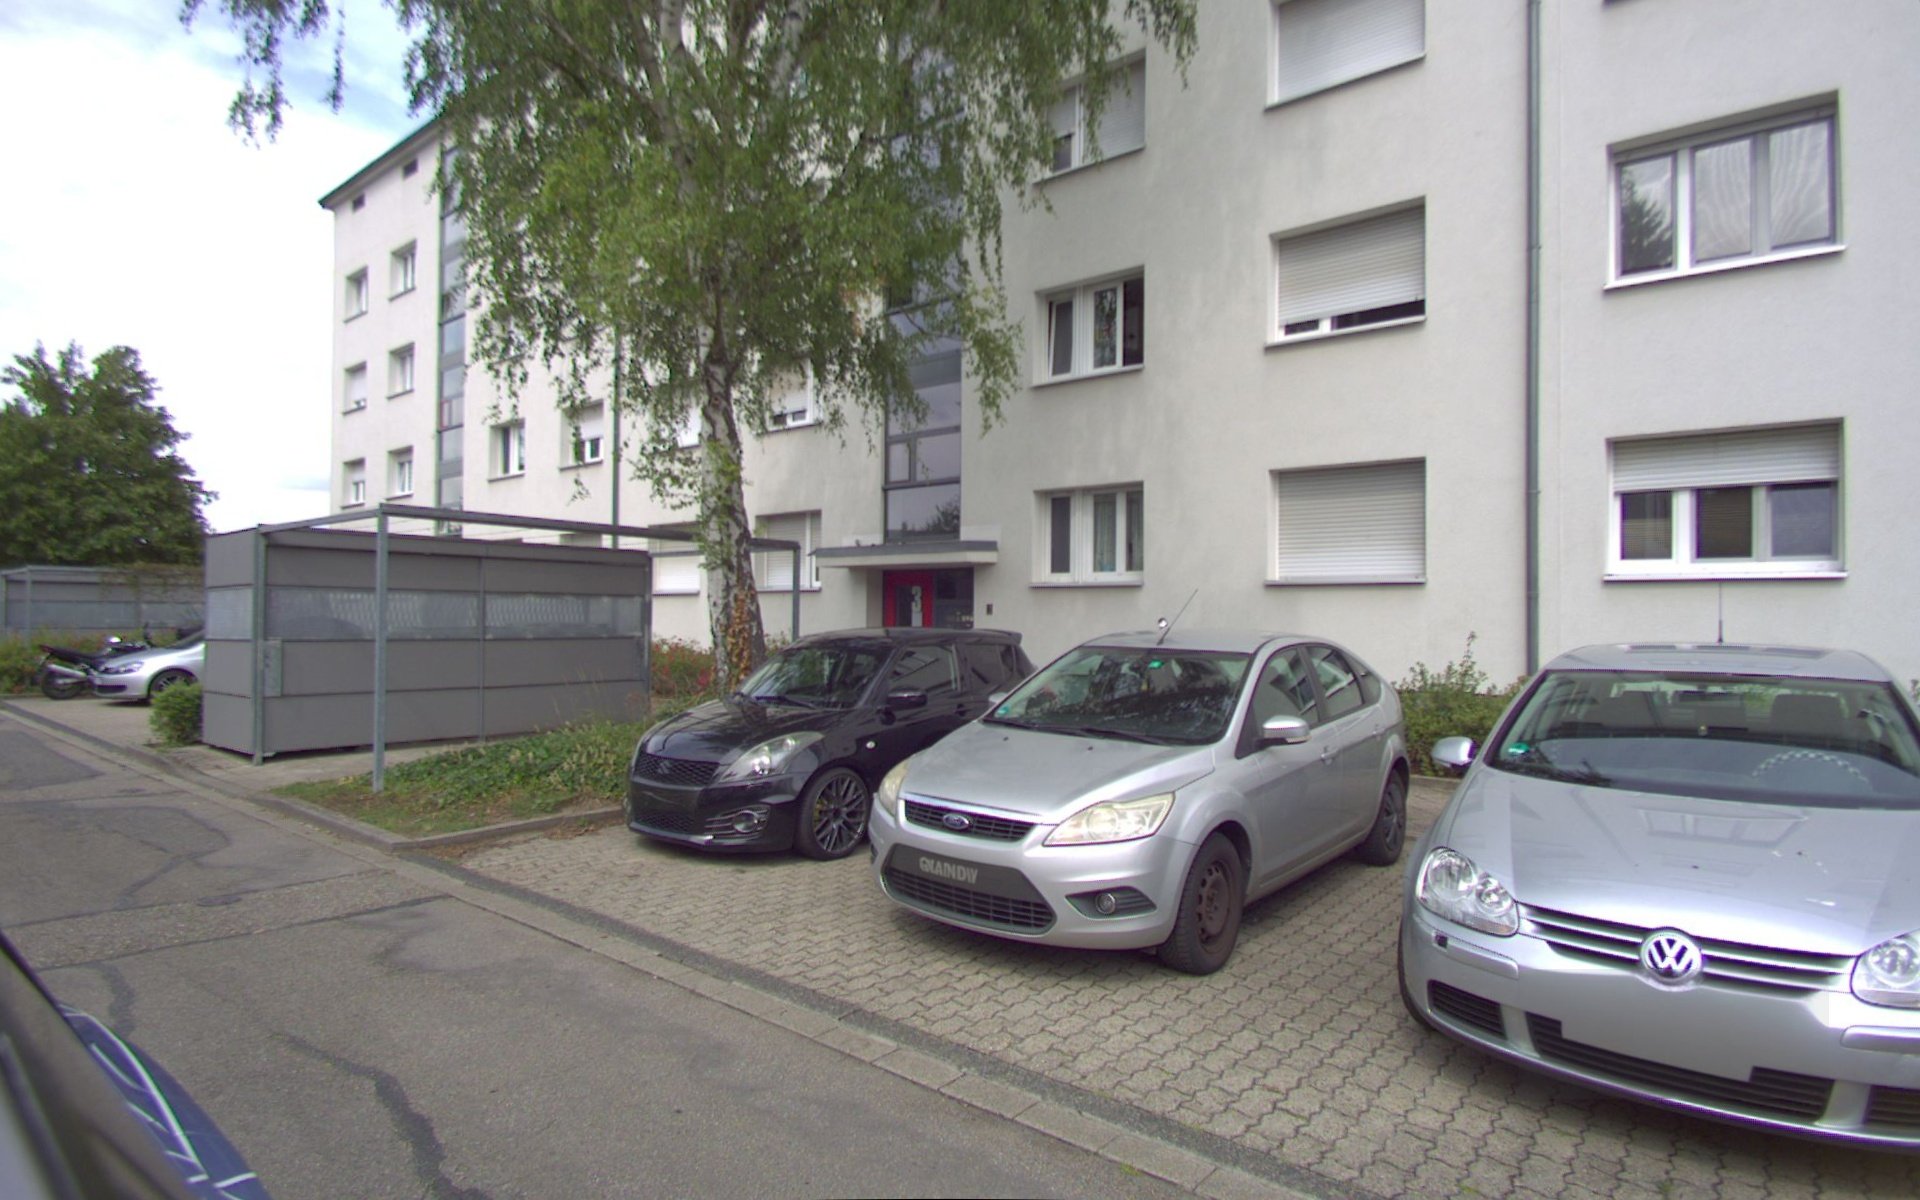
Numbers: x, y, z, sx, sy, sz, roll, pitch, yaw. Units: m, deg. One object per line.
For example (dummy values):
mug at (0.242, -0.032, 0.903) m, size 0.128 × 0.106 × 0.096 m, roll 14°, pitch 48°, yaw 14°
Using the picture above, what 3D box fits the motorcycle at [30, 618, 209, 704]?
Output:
motorcycle at (-15.286, 1.118, 18.481) m, size 0.713 × 1.475 × 2.353 m, roll -1°, pitch -4°, yaw 39°

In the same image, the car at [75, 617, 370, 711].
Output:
car at (-13.240, 1.151, 18.348) m, size 1.901 × 1.497 × 3.945 m, roll -1°, pitch -4°, yaw 41°

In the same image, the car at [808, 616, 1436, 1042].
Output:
car at (1.239, 0.901, 5.775) m, size 1.780 × 1.516 × 4.011 m, roll -1°, pitch -2°, yaw 39°

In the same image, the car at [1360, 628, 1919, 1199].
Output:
car at (3.194, 0.890, 4.162) m, size 1.780 × 1.475 × 4.011 m, roll -1°, pitch -2°, yaw 39°

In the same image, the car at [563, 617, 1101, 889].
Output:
car at (-0.718, 0.936, 7.822) m, size 1.780 × 1.516 × 4.011 m, roll -1°, pitch -2°, yaw 39°
